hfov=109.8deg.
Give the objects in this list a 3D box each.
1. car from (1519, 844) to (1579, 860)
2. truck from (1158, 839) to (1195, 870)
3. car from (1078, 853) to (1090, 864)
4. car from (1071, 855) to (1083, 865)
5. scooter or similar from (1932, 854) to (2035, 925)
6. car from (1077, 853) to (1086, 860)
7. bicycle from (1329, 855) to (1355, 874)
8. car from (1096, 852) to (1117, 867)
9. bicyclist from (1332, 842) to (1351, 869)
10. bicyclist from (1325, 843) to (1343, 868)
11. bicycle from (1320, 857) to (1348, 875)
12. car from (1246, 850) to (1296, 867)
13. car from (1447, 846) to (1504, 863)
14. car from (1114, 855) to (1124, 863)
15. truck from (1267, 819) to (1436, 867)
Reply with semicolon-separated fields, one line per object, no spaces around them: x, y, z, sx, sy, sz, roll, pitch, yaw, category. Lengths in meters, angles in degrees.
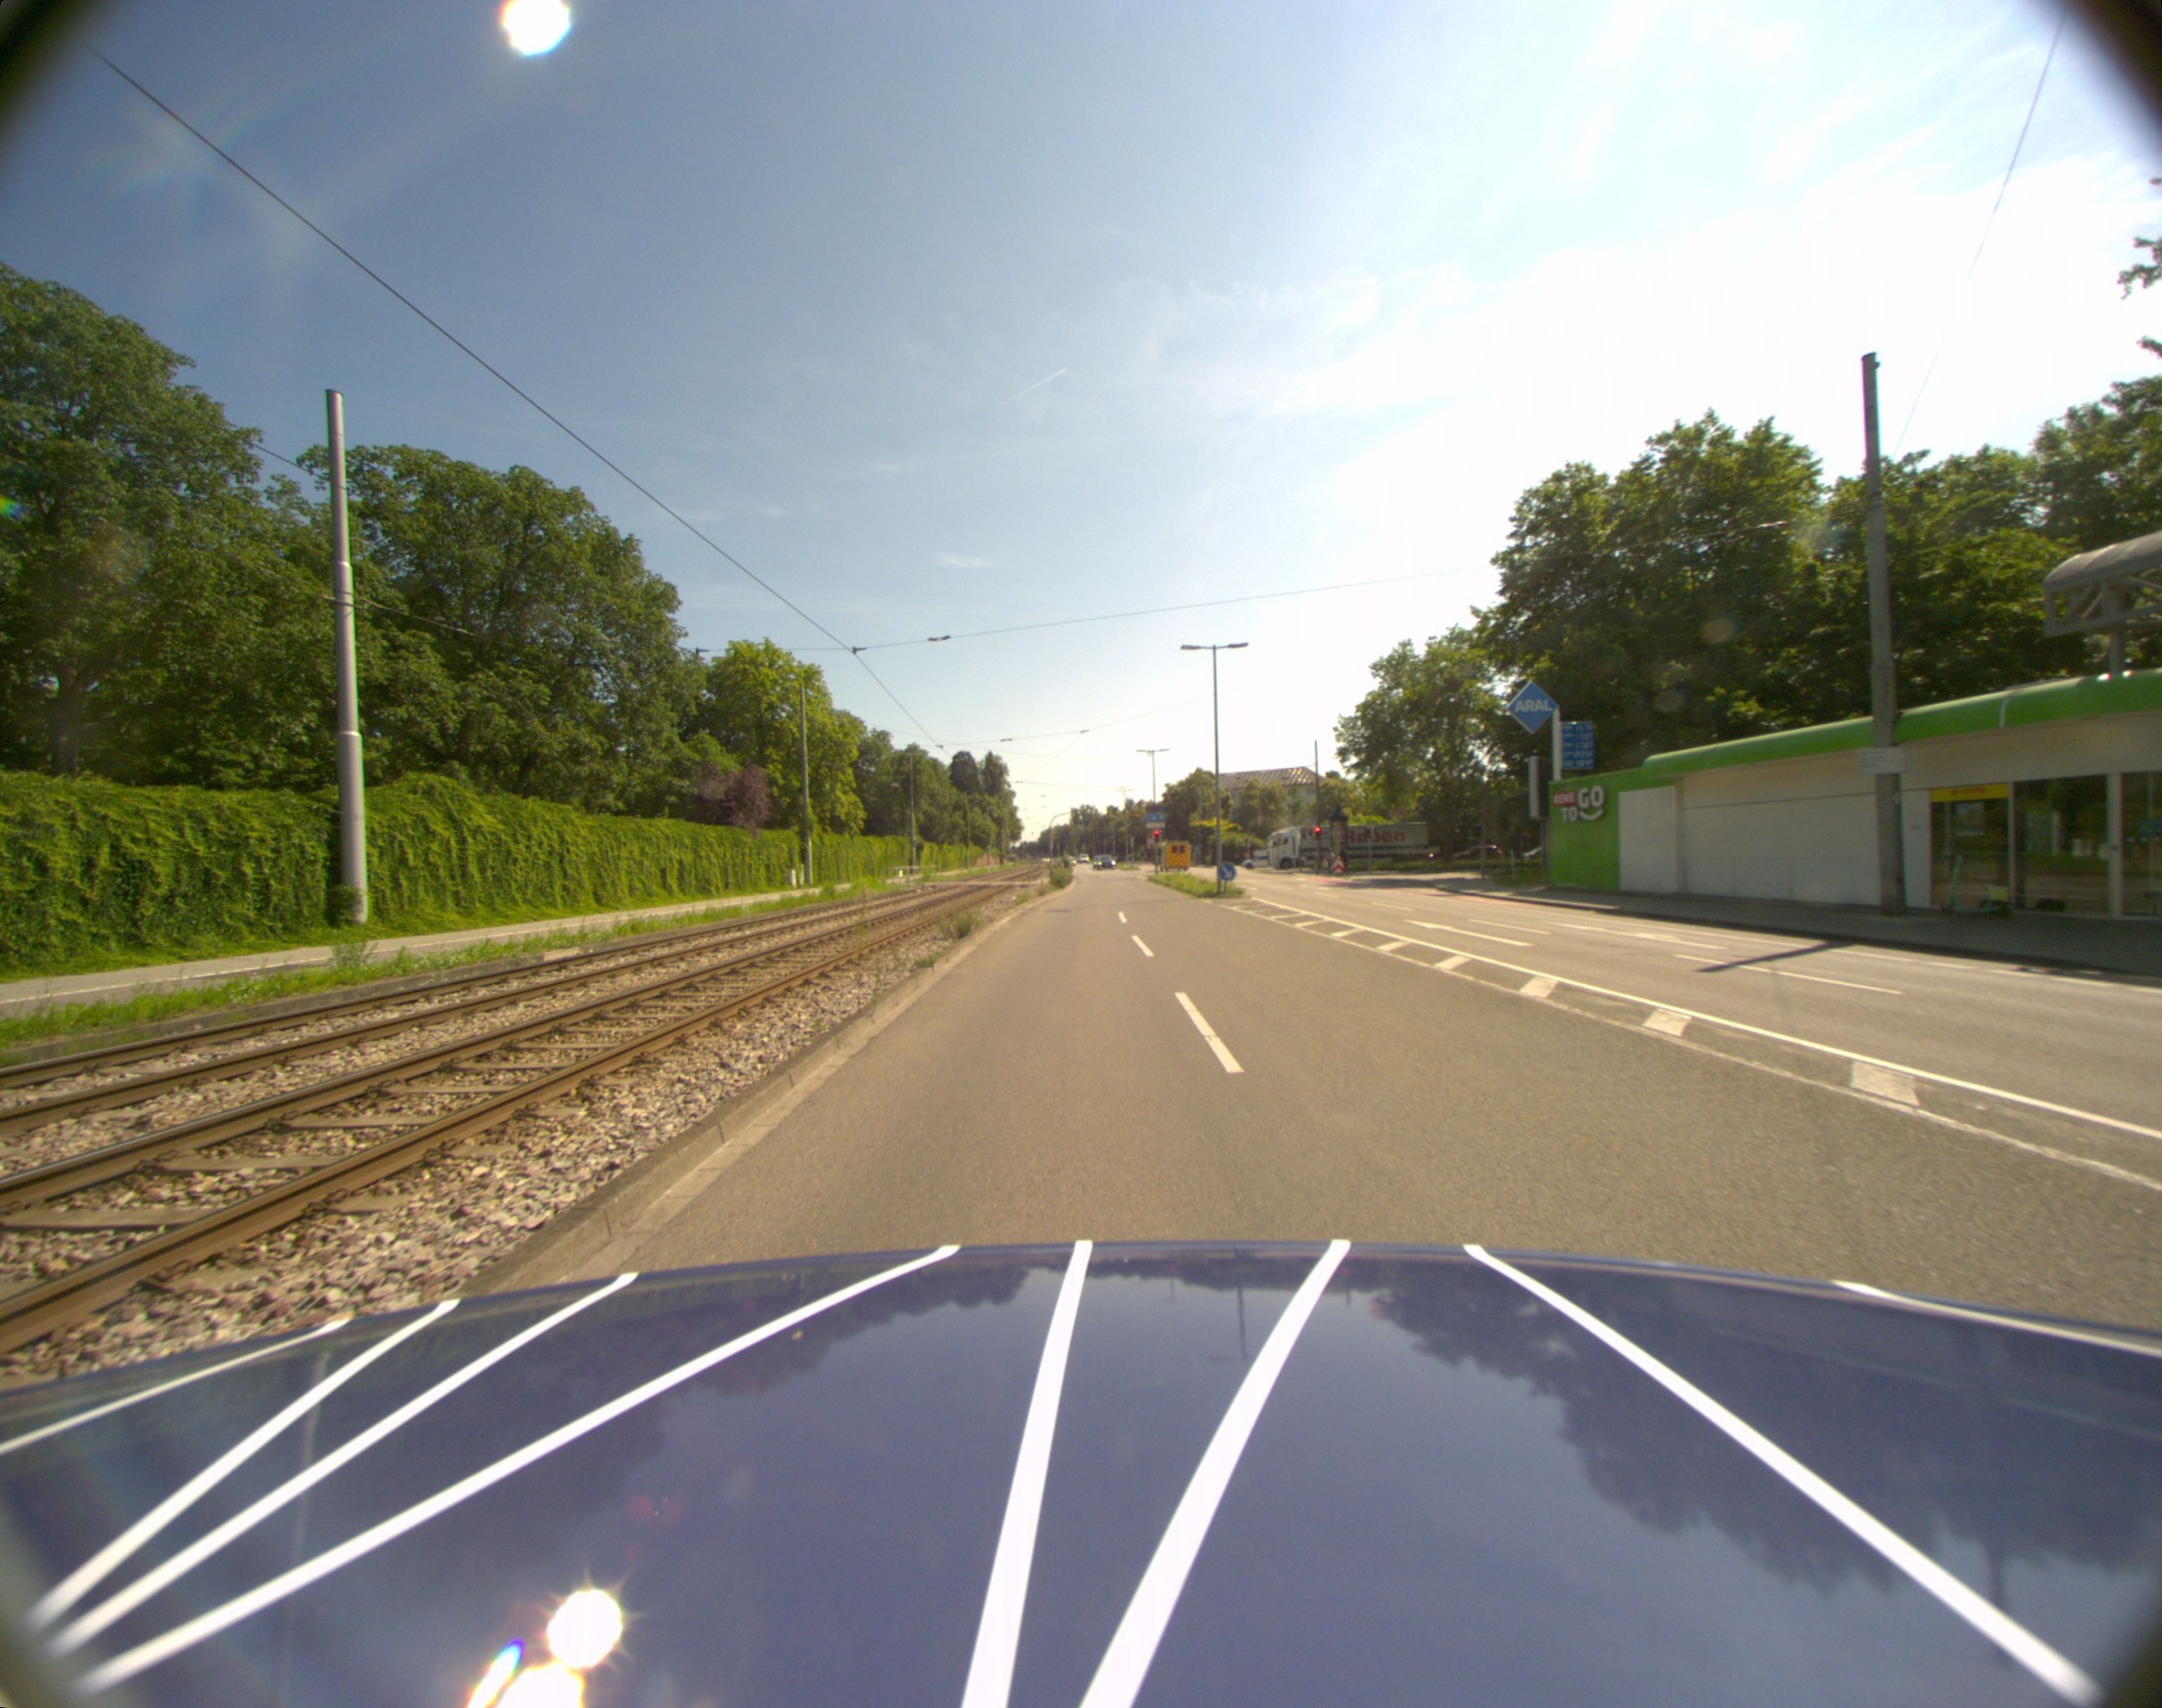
43.766;-0.177;71.110;4.365;1.360;1.758;-2;-1;8;car
8.658;0.056;69.824;2.336;2.652;7.358;-1;0;-1;truck
0.589;0.942;164.374;2.265;2.336;5.229;-2;0;-2;car
-0.758;1.008;132.062;1.931;1.593;4.468;-2;0;-1;car
16.449;0.624;13.890;0.442;1.230;1.346;-1;0;10;scooter or similar
0.077;0.644;183.822;1.931;1.593;4.467;-2;0;-3;car
16.391;0.648;47.824;0.939;1.168;2.211;-1;0;2;bicycle
2.796;0.615;83.562;1.756;1.573;4.503;-1;0;-5;car
16.365;0.108;47.668;0.837;1.664;0.827;-2;-1;0;bicyclist
15.280;0.094;45.862;0.710;1.412;0.739;-2;-1;-8;bicyclist
15.312;0.727;46.048;0.753;1.051;2.074;-1;0;-9;bicycle
18.775;0.476;75.114;4.386;1.501;1.760;-3;-1;30;car
37.145;0.066;71.662;4.365;1.360;1.758;-2;-1;8;car
8.336;1.086;165.049;1.755;1.573;4.504;0;0;-3;car
24.590;-0.947;69.777;14.286;3.984;2.856;-1;0;6;truck
